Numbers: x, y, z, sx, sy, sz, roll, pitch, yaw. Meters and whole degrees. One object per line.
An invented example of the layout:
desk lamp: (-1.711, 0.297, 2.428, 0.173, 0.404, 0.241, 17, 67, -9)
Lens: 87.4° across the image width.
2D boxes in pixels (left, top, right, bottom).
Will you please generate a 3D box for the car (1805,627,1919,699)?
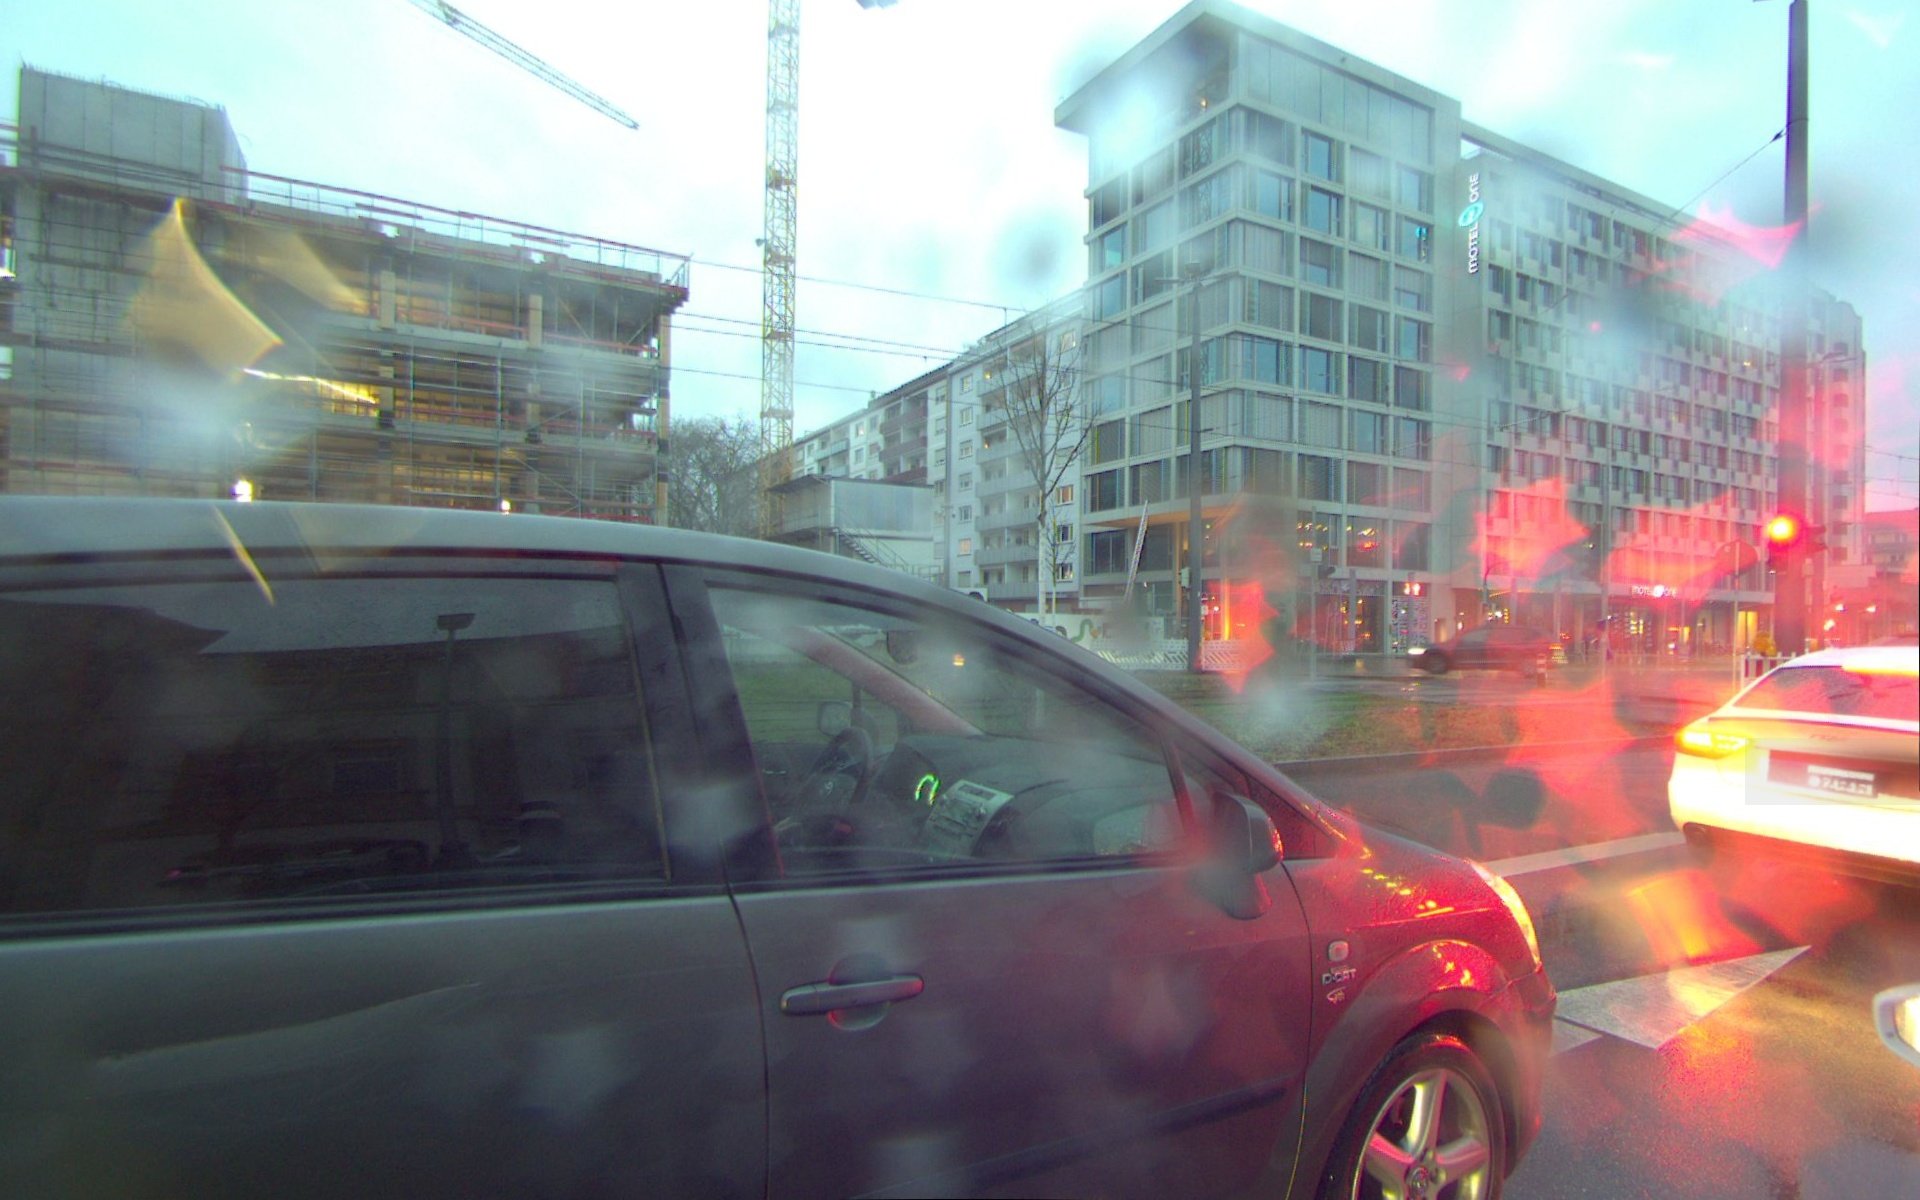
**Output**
car: (24.456, 1.626, 25.640, 1.938, 1.709, 4.046, 2, 0, -33)

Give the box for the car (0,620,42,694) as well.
car: (-25.867, 1.392, 25.105, 3.955, 1.795, 1.983, 2, 0, -32)

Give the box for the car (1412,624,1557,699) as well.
car: (16.986, 1.929, 32.549, 4.012, 2.151, 1.955, 2, 0, 32)

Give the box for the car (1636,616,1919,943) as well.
car: (6.080, 0.906, 6.083, 4.205, 1.489, 1.750, 2, 0, -32)

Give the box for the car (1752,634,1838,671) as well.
car: (44.126, 2.763, 53.068, 4.541, 1.813, 1.874, 2, 0, -28)

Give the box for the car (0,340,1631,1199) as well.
car: (-0.502, 0.599, 2.137, 3.956, 1.615, 1.750, 2, 0, -32)

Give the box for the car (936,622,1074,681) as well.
car: (1.425, 1.650, 32.378, 4.017, 1.709, 1.952, 2, 0, -16)
